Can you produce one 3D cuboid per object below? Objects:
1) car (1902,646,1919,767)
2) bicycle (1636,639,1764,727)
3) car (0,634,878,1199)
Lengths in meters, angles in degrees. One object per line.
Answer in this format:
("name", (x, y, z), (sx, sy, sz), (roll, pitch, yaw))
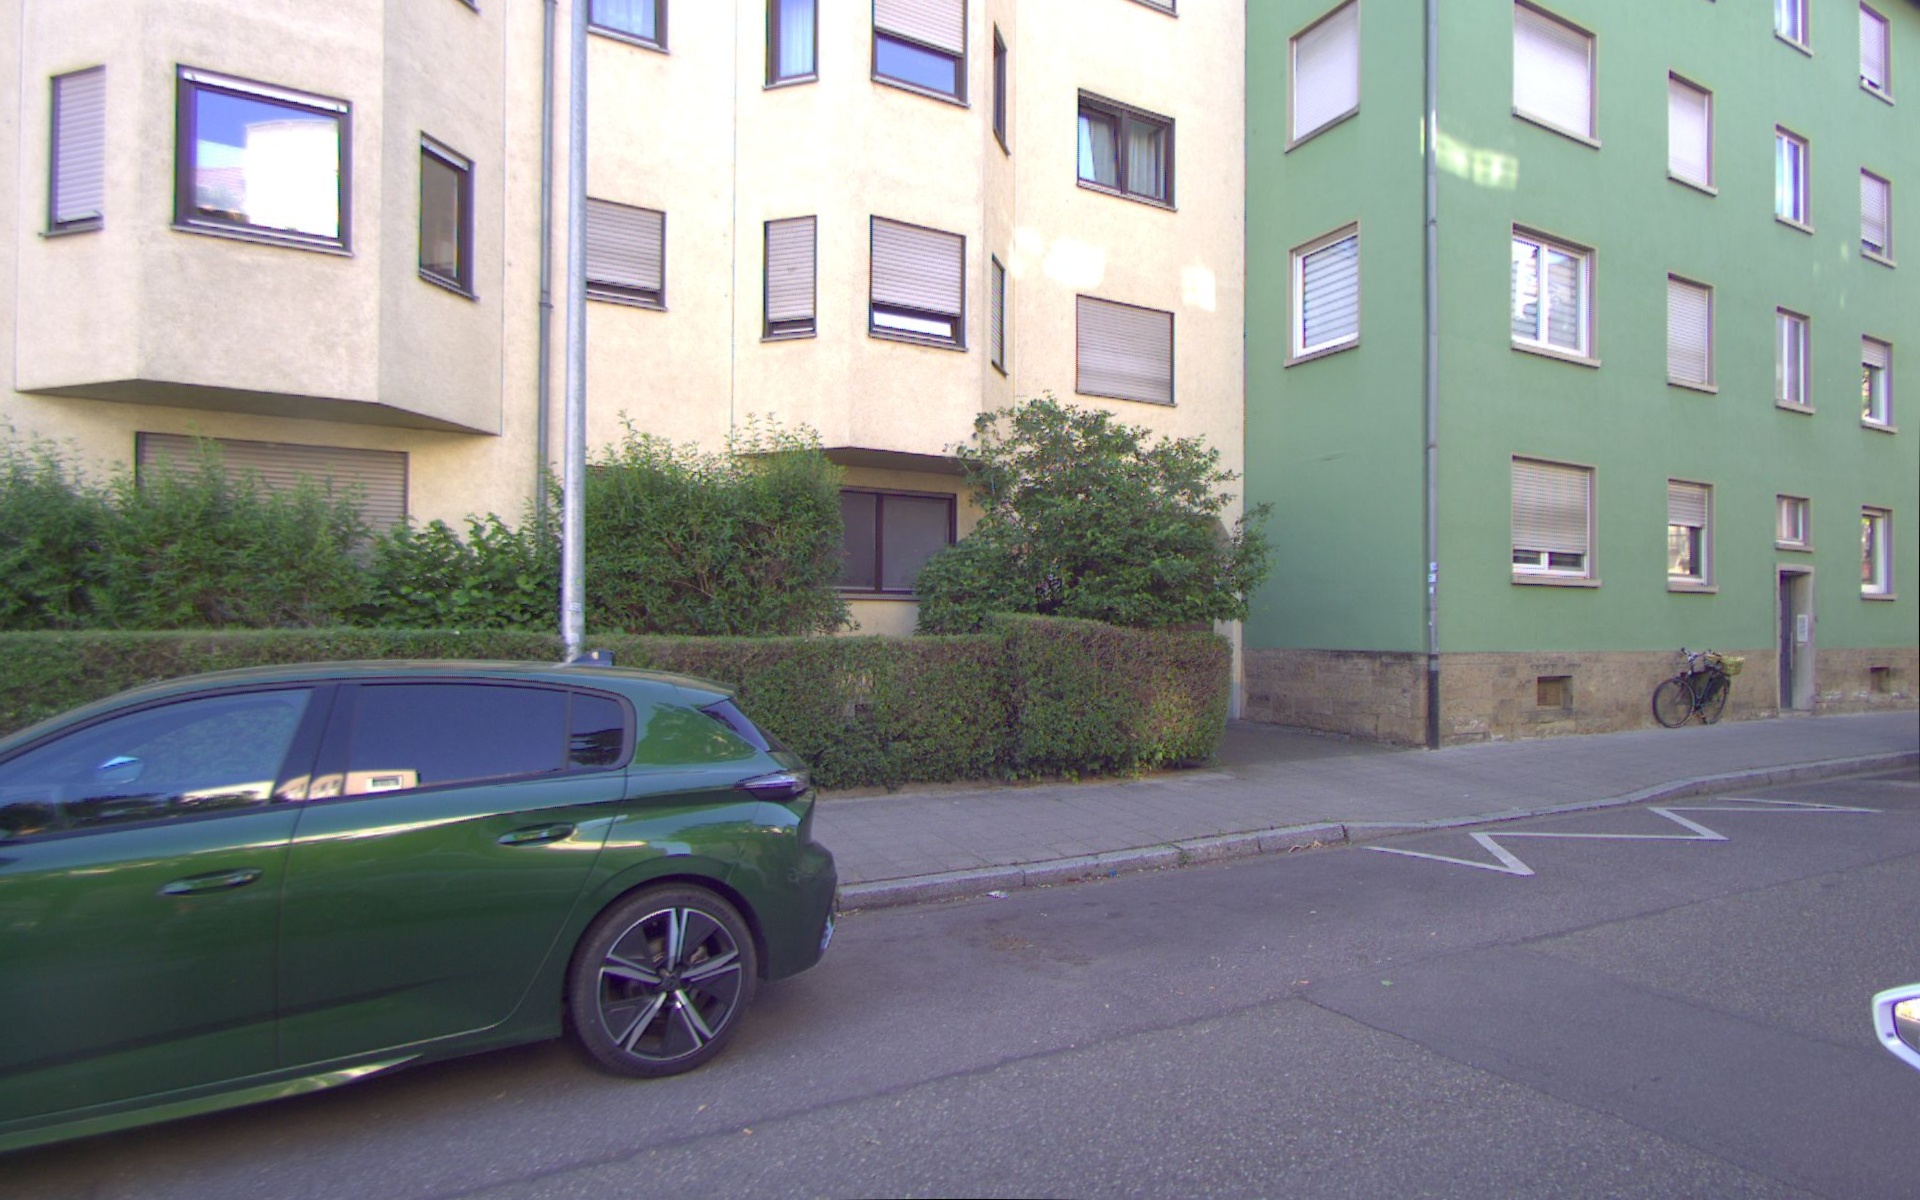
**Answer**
("car", (13.865, 1.283, 12.592), (4.067, 1.474, 1.969), (1, -4, -32))
("bicycle", (10.932, 1.188, 14.817), (2.250, 1.194, 0.548), (1, 2, -28))
("car", (-2.502, 0.899, 3.535), (4.086, 1.516, 1.745), (1, -3, -30))
